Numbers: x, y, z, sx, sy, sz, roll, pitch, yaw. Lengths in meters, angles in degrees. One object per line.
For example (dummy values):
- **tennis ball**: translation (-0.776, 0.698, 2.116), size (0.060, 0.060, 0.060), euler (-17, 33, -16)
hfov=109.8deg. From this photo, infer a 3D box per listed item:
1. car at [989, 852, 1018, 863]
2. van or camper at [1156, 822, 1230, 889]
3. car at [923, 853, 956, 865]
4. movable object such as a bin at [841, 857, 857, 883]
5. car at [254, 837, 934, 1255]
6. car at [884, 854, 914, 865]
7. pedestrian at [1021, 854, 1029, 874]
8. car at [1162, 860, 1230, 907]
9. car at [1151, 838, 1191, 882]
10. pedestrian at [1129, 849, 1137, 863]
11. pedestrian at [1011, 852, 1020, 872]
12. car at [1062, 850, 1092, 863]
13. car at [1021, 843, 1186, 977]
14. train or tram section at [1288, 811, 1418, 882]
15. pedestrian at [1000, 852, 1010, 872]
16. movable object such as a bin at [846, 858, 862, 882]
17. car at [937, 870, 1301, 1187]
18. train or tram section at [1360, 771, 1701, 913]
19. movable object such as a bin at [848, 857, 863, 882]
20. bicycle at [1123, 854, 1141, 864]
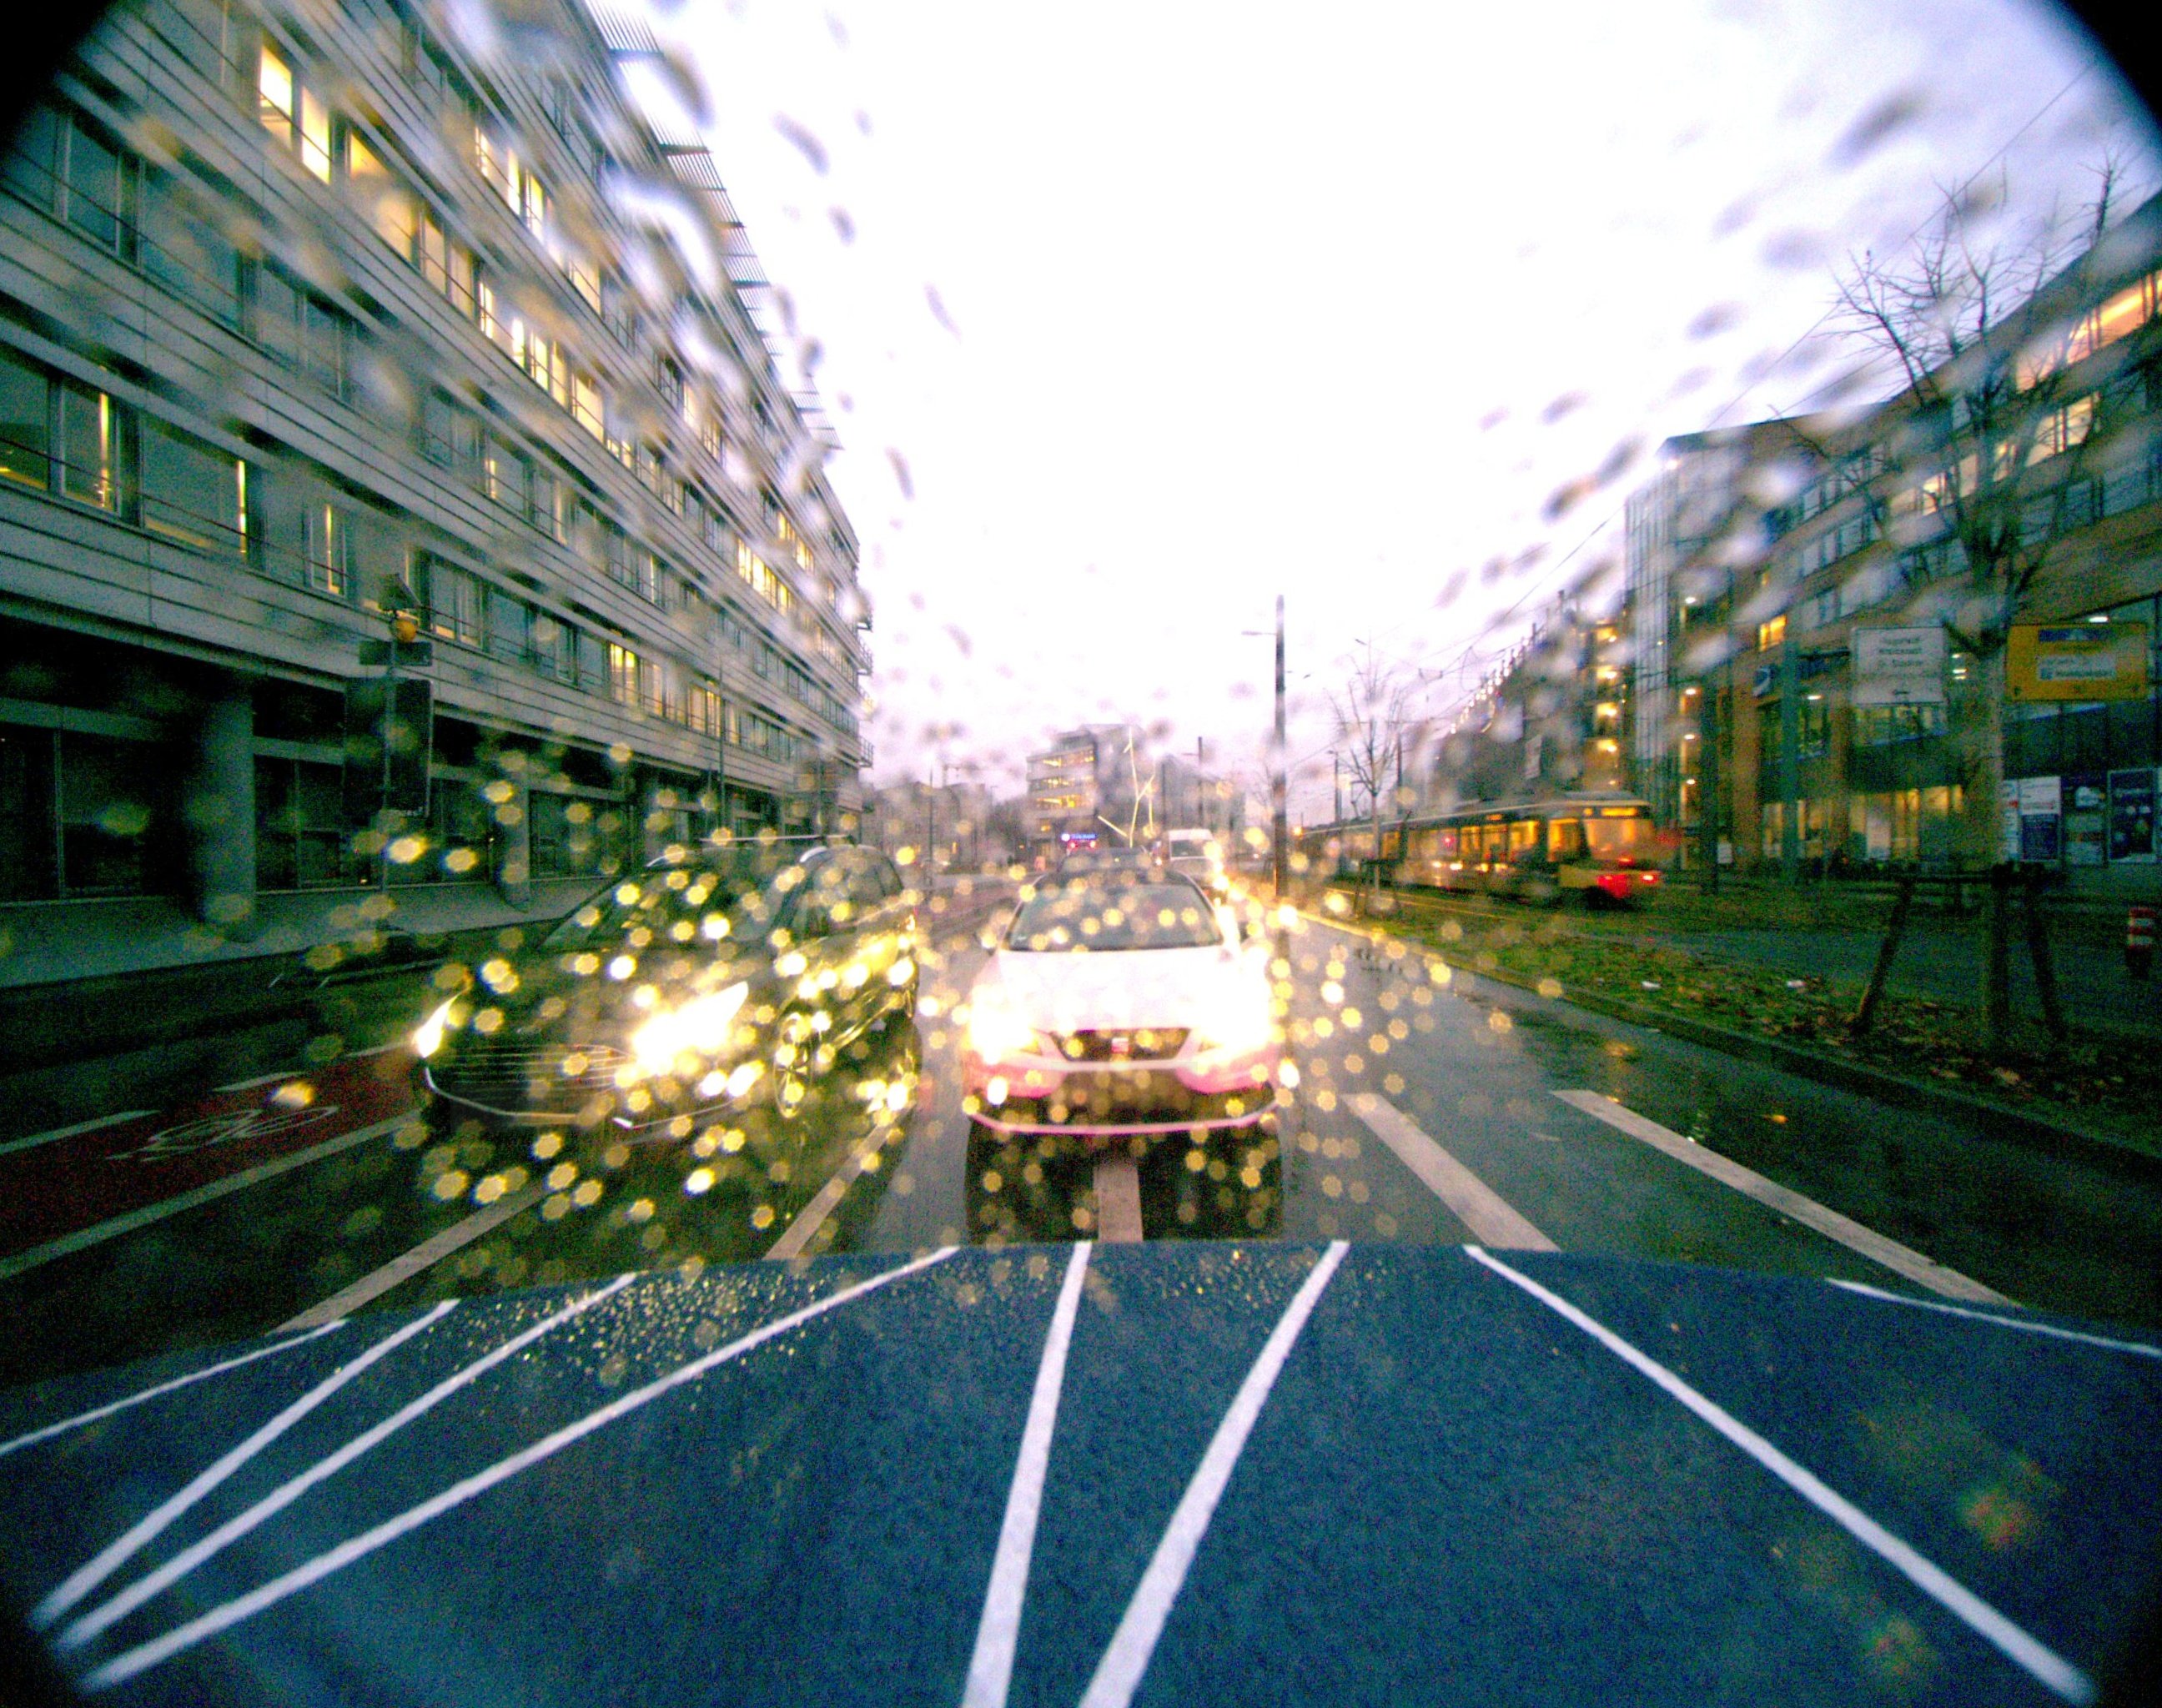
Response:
- **car**: translation (-11.224, 0.554, 110.153), size (3.758, 1.528, 1.783), euler (0, 0, 20)
- **van or camper**: translation (4.524, 0.040, 31.568), size (2.153, 2.517, 5.898), euler (-1, 0, 0)
- **car**: translation (-21.175, 0.718, 113.663), size (4.368, 1.750, 2.002), euler (-1, 1, 17)
- **movable object such as a bin**: translation (-13.254, 0.913, 43.403), size (0.666, 1.420, 0.840), euler (-1, 1, -2)
- **car**: translation (-2.609, 0.849, 5.689), size (1.887, 1.800, 4.671), euler (-2, 0, 2)
- **car**: translation (-27.844, 0.844, 116.090), size (3.996, 1.663, 2.002), euler (-1, 1, 17)
- **pedestrian**: translation (-4.838, 0.853, 65.354), size (0.616, 1.659, 0.884), euler (1, 1, -3)
- **car**: translation (3.591, 0.891, 24.373), size (1.759, 1.337, 4.057), euler (-1, 0, 3)
- **car**: translation (6.155, 0.369, 52.698), size (2.129, 2.847, 5.813), euler (-1, 0, 0)
- **pedestrian**: translation (6.569, 0.275, 95.636), size (0.894, 1.783, 0.667), euler (0, 1, -15)
- **pedestrian**: translation (-5.625, 0.682, 65.381), size (0.651, 1.692, 0.884), euler (1, 1, -3)
- **car**: translation (-0.510, 0.323, 107.284), size (3.918, 1.699, 1.782), euler (-1, 1, 14)
- **car**: translation (0.320, 0.740, 12.381), size (2.169, 1.744, 4.542), euler (-1, 0, 0)
- **train or tram section**: translation (16.472, -0.441, 48.485), size (2.870, 3.593, 20.077), euler (0, 0, 5)
- **pedestrian**: translation (-6.593, 0.715, 65.792), size (0.747, 1.692, 0.969), euler (2, 1, -3)
- **movable object such as a bin**: translation (-13.249, 0.927, 44.300), size (0.666, 1.420, 0.840), euler (-1, 1, -2)
- **car**: translation (0.216, 0.910, 5.734), size (1.782, 1.464, 3.943), euler (-1, 0, 1)
- **train or tram section**: translation (14.953, -0.364, 28.984), size (2.871, 3.593, 19.217), euler (0, 0, 4)
- **movable object such as a bin**: translation (-13.413, 0.931, 45.230), size (0.666, 1.468, 0.840), euler (-1, 1, -2)
- **bicycle**: translation (6.388, 0.606, 95.595), size (2.207, 1.182, 0.667), euler (0, 1, -16)
